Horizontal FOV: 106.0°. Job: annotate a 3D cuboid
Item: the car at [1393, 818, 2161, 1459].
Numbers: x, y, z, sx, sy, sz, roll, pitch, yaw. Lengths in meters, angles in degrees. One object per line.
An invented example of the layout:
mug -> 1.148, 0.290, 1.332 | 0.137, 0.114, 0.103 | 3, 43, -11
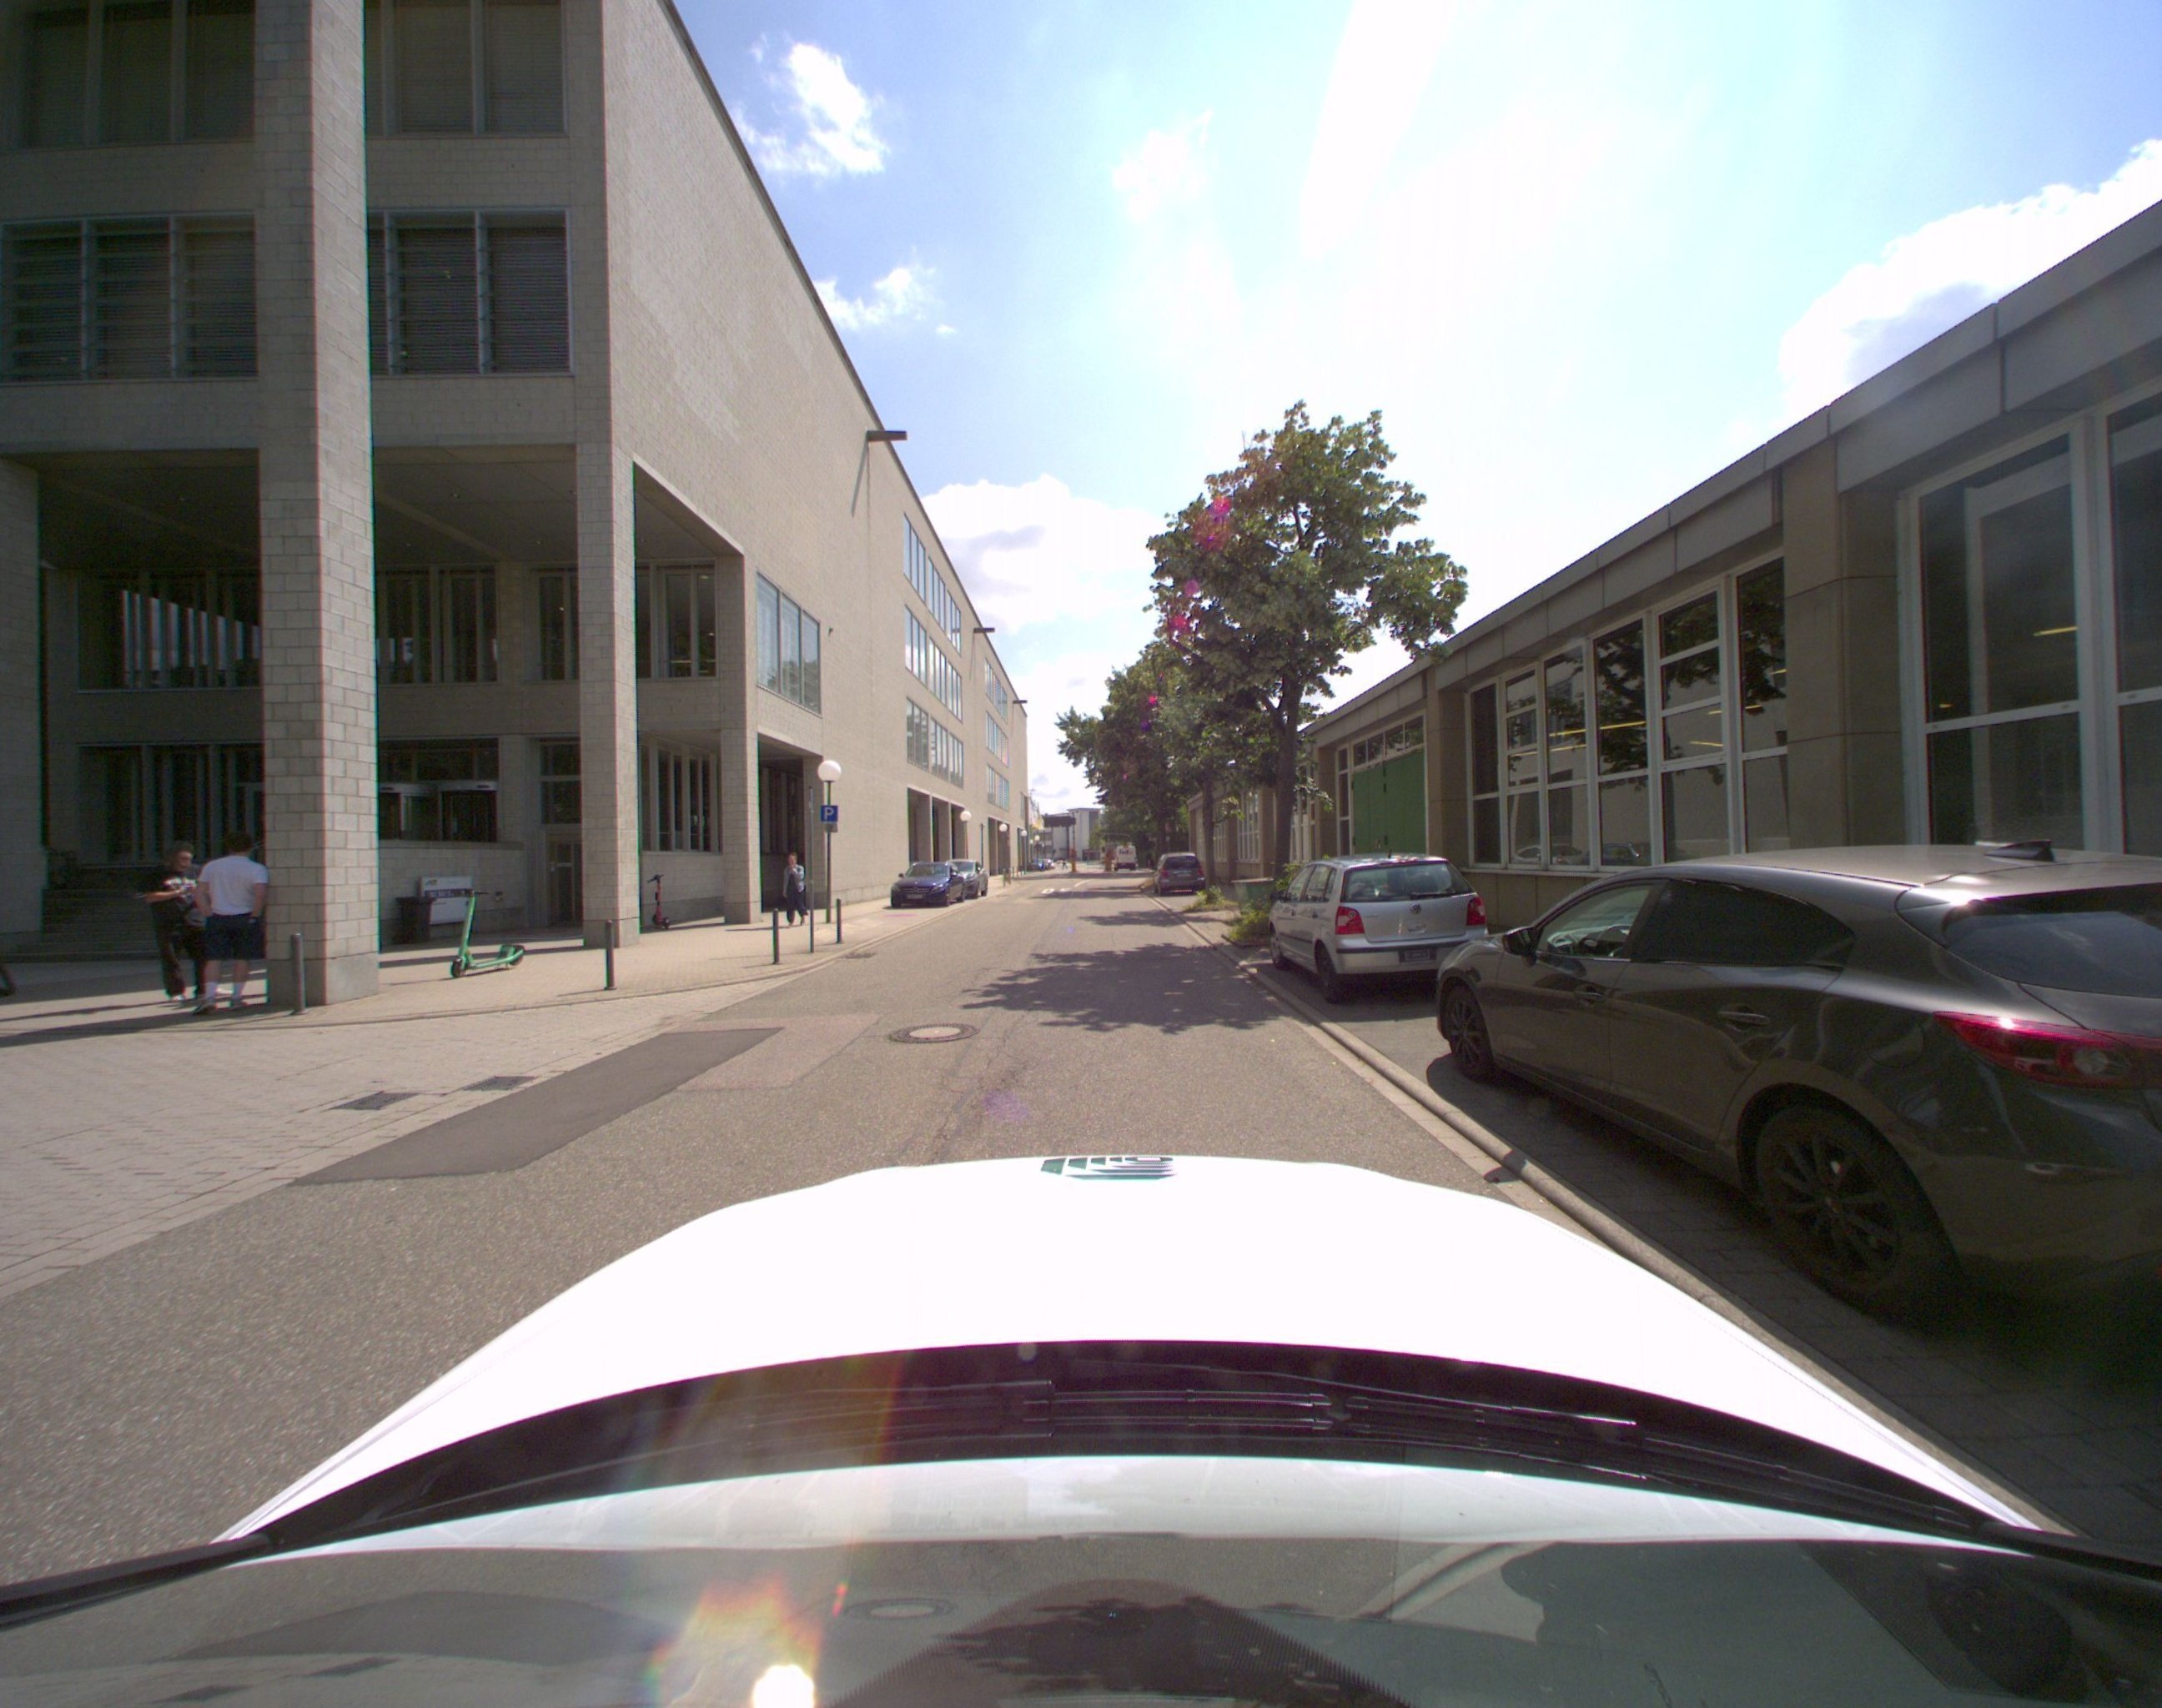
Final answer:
car -> 3.322, 0.646, 4.147 | 1.774, 1.476, 4.463 | -3, 0, 1

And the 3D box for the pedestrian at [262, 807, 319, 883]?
pedestrian -> -17.790, -0.190, 18.339 | 0.628, 1.661, 0.698 | -1, 0, 19

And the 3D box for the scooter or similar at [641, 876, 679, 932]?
scooter or similar -> -9.745, 1.122, 18.837 | 0.529, 1.210, 1.541 | -1, 0, -36

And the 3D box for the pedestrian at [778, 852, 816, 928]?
pedestrian -> -6.608, 0.821, 18.990 | 0.649, 1.701, 0.886 | -1, 0, -10

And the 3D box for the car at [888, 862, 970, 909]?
car -> -5.036, 1.001, 27.570 | 1.759, 1.427, 4.237 | -1, -1, 3

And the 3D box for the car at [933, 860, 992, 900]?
car -> -4.718, 1.023, 32.978 | 1.625, 1.485, 4.179 | -1, -1, 2

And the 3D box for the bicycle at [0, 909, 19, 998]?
bicycle -> -12.843, 1.188, 8.680 | 0.463, 1.014, 1.867 | 0, 2, 5

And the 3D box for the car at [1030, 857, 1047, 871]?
car -> -4.802, 1.153, 92.895 | 1.640, 1.498, 3.728 | -2, -2, 1

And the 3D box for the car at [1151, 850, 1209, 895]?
car -> 3.827, 0.697, 32.030 | 1.852, 1.574, 4.001 | -3, 0, 2

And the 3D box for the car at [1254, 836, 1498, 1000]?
car -> 3.229, 0.625, 9.705 | 1.610, 1.538, 3.781 | -1, 0, 1

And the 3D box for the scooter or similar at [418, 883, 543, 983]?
scooter or similar -> -8.199, 1.037, 11.194 | 0.452, 1.223, 1.551 | -1, 0, 5

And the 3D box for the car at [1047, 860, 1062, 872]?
car -> -3.373, 1.540, 104.751 | 1.640, 1.498, 3.728 | -2, -2, 1

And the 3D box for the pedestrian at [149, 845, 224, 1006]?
pedestrian -> -10.179, 0.788, 9.281 | 0.444, 1.775, 0.447 | -1, 0, -29

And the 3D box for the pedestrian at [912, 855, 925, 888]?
pedestrian -> -9.293, 1.022, 46.607 | 0.509, 1.841, 0.735 | -2, -2, 0

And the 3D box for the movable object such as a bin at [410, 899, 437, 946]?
movable object such as a bin -> -13.081, 1.361, 16.205 | 0.168, 0.895, 0.448 | -1, 0, -4

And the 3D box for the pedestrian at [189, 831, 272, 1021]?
pedestrian -> -9.081, 0.732, 8.713 | 0.415, 1.942, 0.657 | 0, -1, -28

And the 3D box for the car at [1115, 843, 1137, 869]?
car -> 4.671, 0.206, 84.902 | 2.076, 2.539, 4.316 | 0, 0, 1
